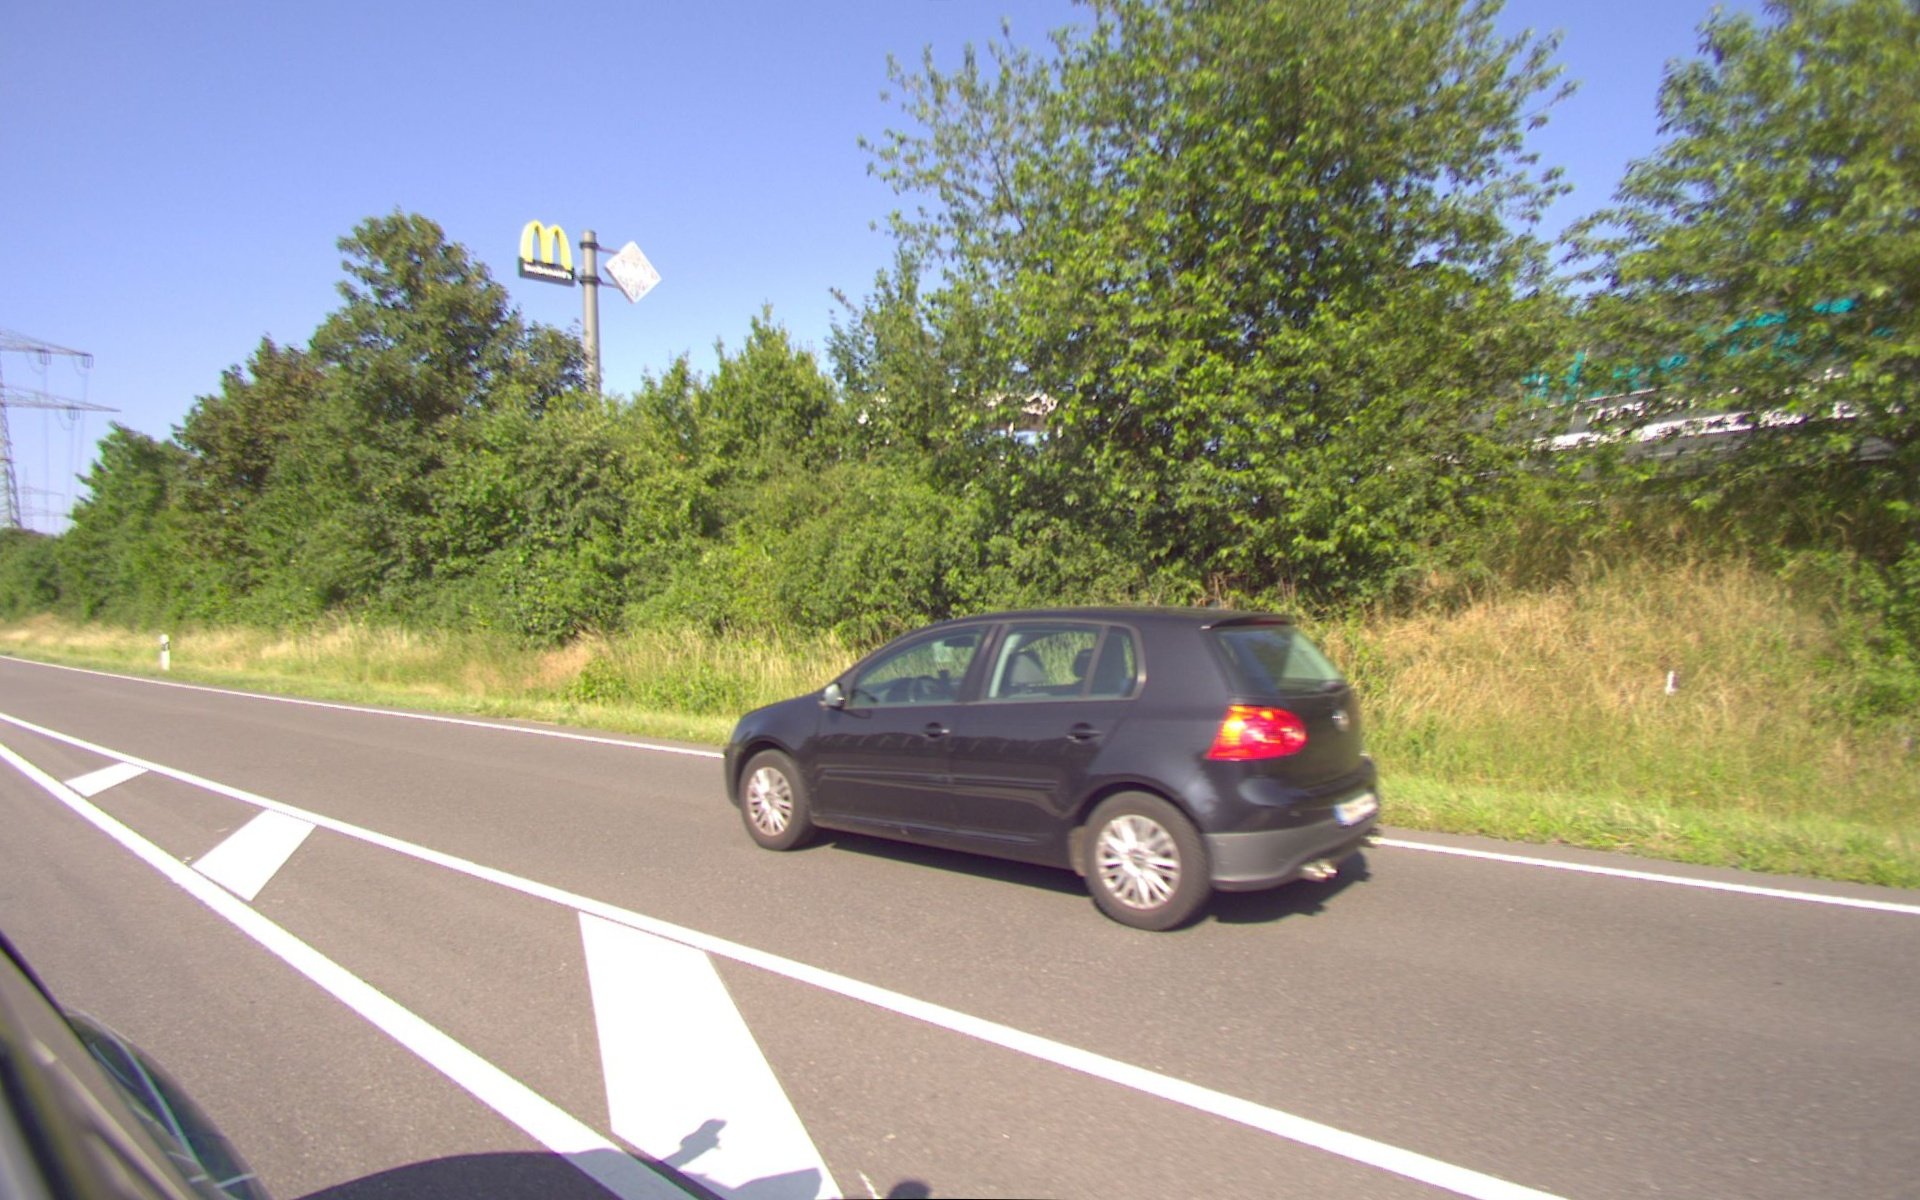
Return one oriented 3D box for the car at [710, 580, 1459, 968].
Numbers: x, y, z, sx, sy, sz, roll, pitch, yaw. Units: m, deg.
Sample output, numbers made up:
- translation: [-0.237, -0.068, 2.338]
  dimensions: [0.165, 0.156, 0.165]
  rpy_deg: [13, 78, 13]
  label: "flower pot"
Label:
- translation: [0.495, 0.705, 5.853]
  dimensions: [3.996, 1.493, 1.732]
  rpy_deg: [-1, -1, 39]
  label: "car"
